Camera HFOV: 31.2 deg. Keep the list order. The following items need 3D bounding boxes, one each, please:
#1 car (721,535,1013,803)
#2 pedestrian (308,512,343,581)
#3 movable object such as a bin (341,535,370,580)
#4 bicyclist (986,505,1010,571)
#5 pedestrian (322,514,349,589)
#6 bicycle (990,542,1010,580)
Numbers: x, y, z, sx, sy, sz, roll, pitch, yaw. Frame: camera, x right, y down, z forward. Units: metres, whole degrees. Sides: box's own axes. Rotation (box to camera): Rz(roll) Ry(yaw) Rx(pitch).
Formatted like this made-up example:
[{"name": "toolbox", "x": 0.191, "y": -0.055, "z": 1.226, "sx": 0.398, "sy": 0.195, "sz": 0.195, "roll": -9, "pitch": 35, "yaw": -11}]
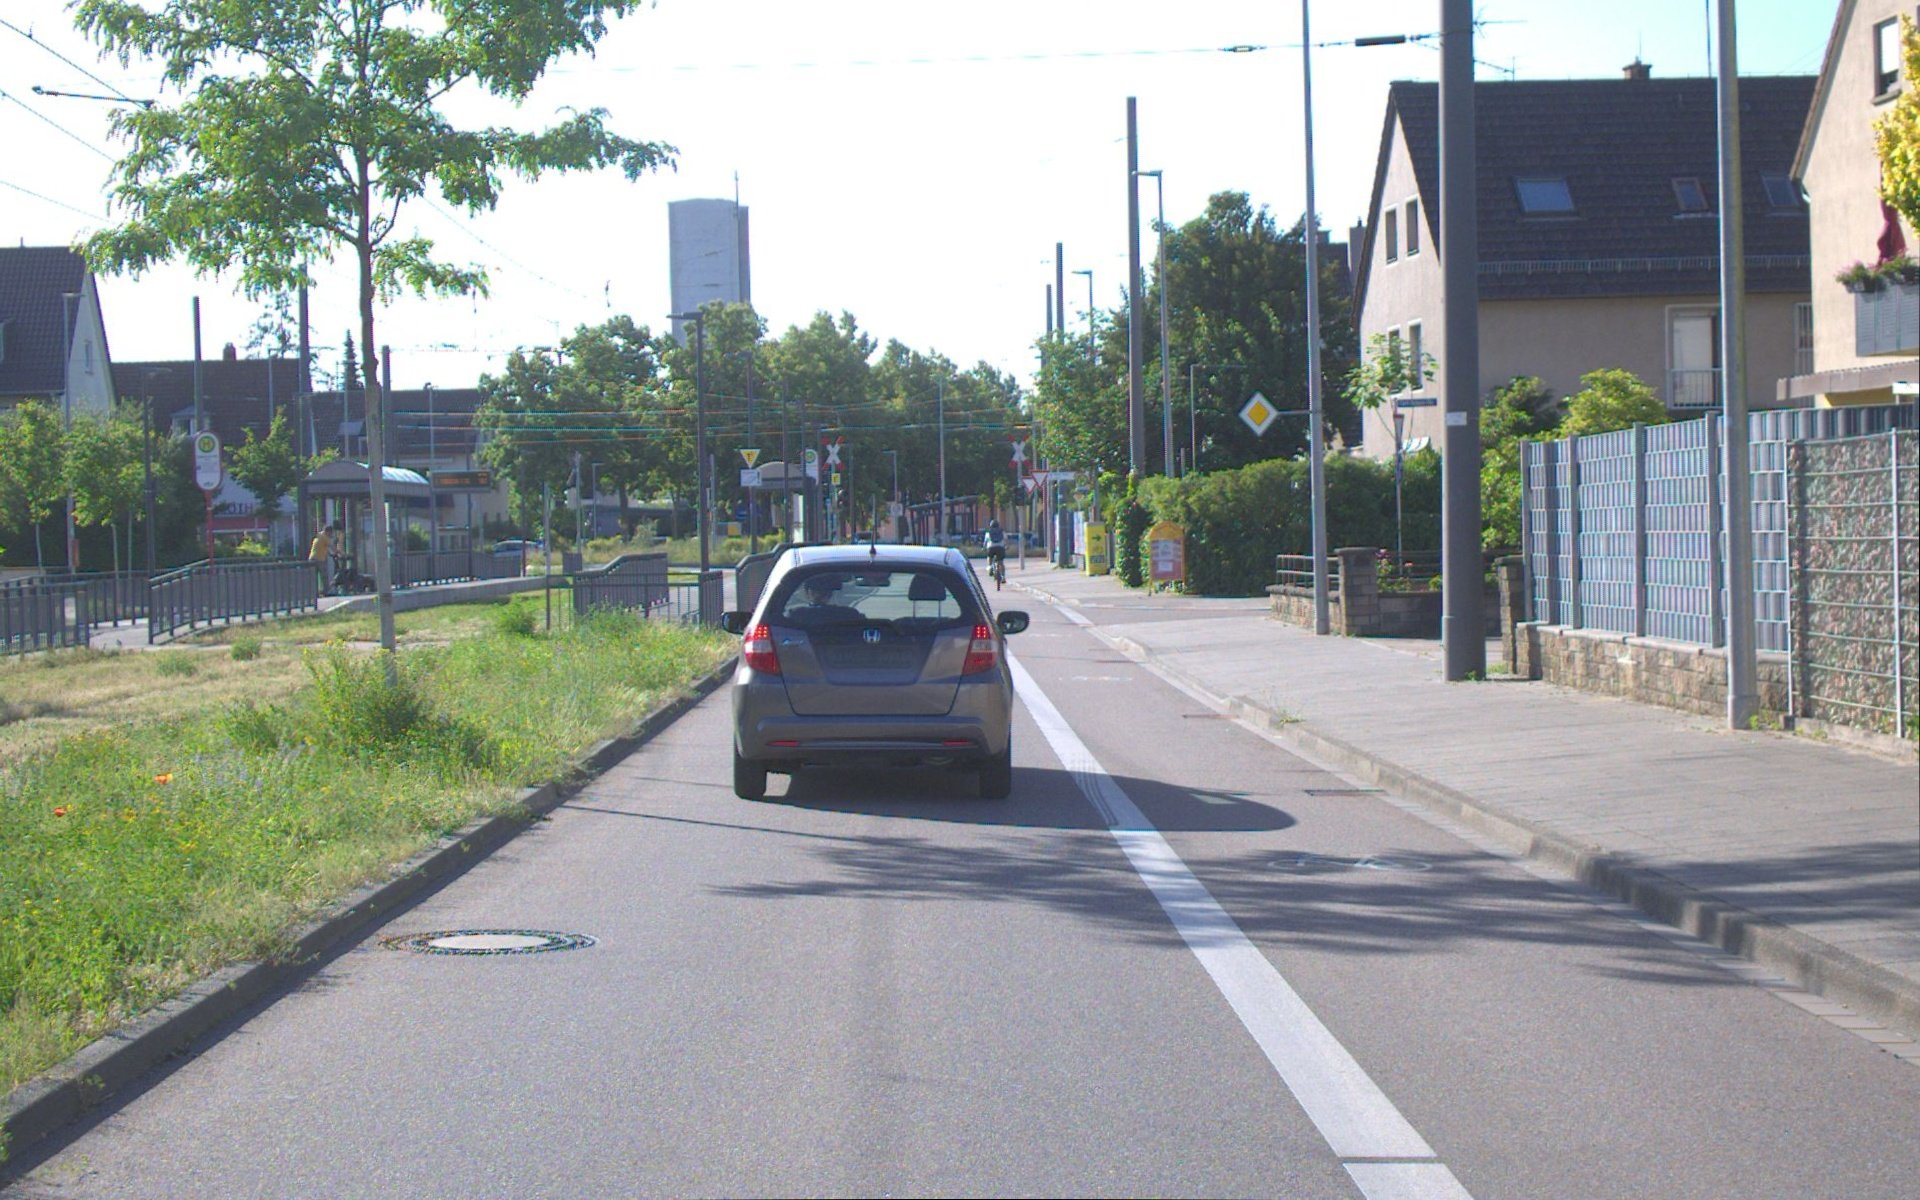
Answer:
[{"name": "car", "x": -0.582, "y": 0.375, "z": 21.649, "sx": 1.670, "sy": 1.530, "sz": 3.487, "roll": 1, "pitch": 1, "yaw": -1}, {"name": "pedestrian", "x": -14.260, "y": -1.210, "z": 77.299, "sx": 0.675, "sy": 1.530, "sz": 0.749, "roll": -1, "pitch": 1, "yaw": -5}, {"name": "movable object such as a bin", "x": -13.604, "y": -0.961, "z": 77.356, "sx": 0.546, "sy": 0.984, "sz": 0.741, "roll": -1, "pitch": 1, "yaw": -4}, {"name": "bicyclist", "x": 0.973, "y": -1.585, "z": 88.120, "sx": 0.598, "sy": 1.695, "sz": 0.683, "roll": 0, "pitch": 0, "yaw": 0}, {"name": "pedestrian", "x": -14.378, "y": -1.118, "z": 79.185, "sx": 0.519, "sy": 1.702, "sz": 0.581, "roll": -1, "pitch": 1, "yaw": -5}, {"name": "bicycle", "x": 1.034, "y": -0.995, "z": 88.406, "sx": 0.475, "sy": 0.958, "sz": 1.657, "roll": 0, "pitch": 0, "yaw": 0}]
